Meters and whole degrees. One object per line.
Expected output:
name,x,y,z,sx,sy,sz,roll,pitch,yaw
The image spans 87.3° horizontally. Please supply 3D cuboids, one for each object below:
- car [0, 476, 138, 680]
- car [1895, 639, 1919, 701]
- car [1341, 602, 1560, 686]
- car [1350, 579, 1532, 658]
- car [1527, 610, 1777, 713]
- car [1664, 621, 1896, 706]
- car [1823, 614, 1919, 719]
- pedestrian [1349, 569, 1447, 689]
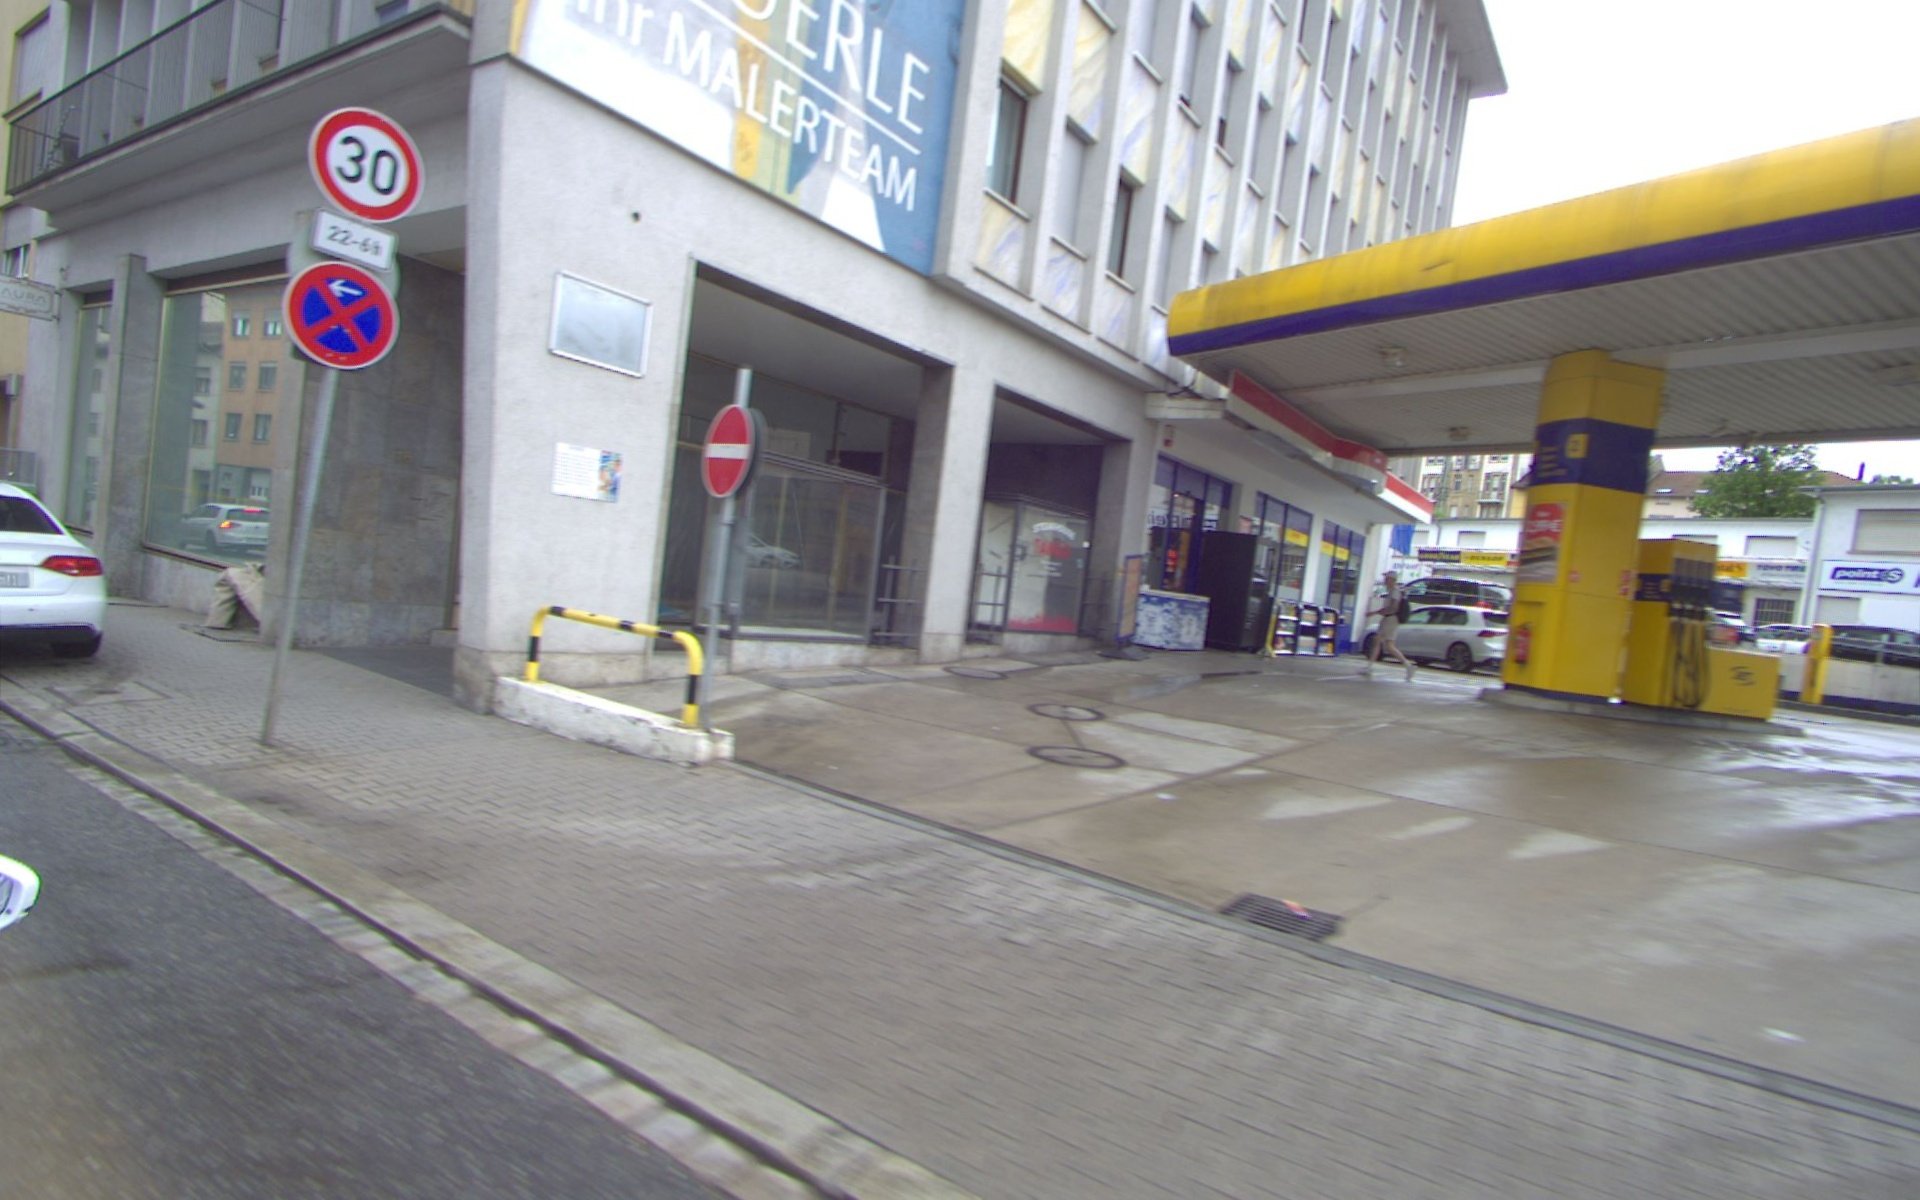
car,-8.972,-0.357,8.476,4.533,1.423,1.891,7,6,33
car,29.362,2.258,29.113,3.952,1.659,1.987,8,-1,-26
car,11.178,0.948,23.311,1.970,1.535,4.402,5,0,-18
car,14.420,0.502,30.447,1.976,1.887,4.550,8,-1,-26
car,16.886,1.437,24.828,1.976,1.887,4.550,8,-1,-26
car,21.090,1.580,26.084,1.786,1.495,4.179,9,0,-27
car,19.647,1.445,18.997,1.976,1.887,4.550,8,-1,-26
pedestrian,7.194,0.462,16.549,1.268,1.821,0.652,6,3,24
